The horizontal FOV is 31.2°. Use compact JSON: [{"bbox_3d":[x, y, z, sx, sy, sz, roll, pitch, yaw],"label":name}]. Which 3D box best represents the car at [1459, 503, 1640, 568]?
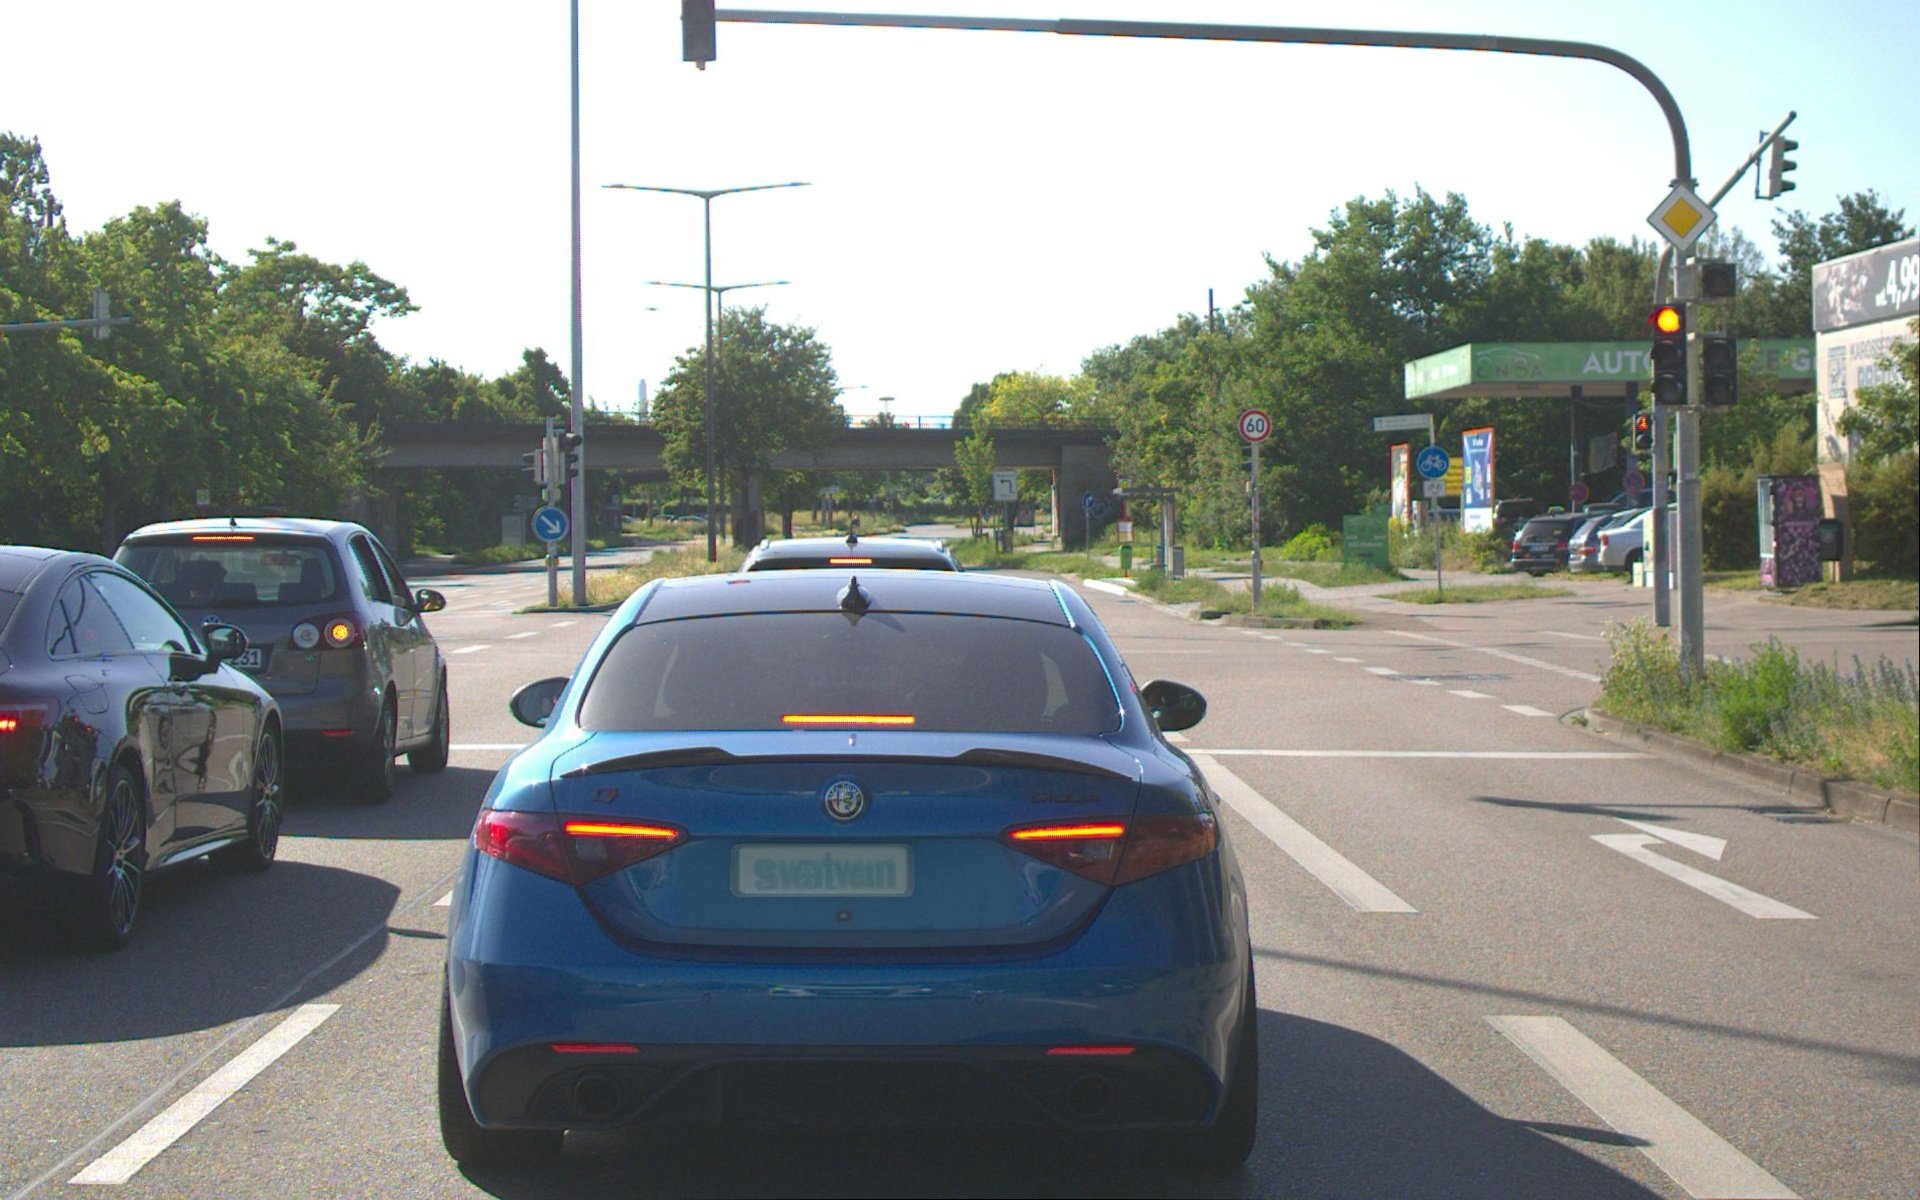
[{"bbox_3d":[14.740,-1.603,86.022,3.986,1.547,2.001,1,1,-18],"label":"car"}]

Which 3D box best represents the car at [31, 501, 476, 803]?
[{"bbox_3d":[-3.981,0.249,20.064,1.812,1.546,4.354,1,1,-2],"label":"car"}]

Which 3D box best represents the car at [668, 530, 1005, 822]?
[{"bbox_3d":[-0.620,0.377,19.735,1.704,1.492,3.719,1,1,1],"label":"car"}]

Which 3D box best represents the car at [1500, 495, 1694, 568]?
[{"bbox_3d":[14.294,-1.528,77.315,3.987,1.547,2.000,1,0,1],"label":"car"}]

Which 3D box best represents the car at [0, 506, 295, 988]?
[{"bbox_3d":[-3.872,0.420,13.266,1.812,1.546,4.544,0,1,-1],"label":"car"}]

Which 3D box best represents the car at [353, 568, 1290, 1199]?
[{"bbox_3d":[-0.252,0.643,8.930,1.910,1.418,3.719,1,1,1],"label":"car"}]
